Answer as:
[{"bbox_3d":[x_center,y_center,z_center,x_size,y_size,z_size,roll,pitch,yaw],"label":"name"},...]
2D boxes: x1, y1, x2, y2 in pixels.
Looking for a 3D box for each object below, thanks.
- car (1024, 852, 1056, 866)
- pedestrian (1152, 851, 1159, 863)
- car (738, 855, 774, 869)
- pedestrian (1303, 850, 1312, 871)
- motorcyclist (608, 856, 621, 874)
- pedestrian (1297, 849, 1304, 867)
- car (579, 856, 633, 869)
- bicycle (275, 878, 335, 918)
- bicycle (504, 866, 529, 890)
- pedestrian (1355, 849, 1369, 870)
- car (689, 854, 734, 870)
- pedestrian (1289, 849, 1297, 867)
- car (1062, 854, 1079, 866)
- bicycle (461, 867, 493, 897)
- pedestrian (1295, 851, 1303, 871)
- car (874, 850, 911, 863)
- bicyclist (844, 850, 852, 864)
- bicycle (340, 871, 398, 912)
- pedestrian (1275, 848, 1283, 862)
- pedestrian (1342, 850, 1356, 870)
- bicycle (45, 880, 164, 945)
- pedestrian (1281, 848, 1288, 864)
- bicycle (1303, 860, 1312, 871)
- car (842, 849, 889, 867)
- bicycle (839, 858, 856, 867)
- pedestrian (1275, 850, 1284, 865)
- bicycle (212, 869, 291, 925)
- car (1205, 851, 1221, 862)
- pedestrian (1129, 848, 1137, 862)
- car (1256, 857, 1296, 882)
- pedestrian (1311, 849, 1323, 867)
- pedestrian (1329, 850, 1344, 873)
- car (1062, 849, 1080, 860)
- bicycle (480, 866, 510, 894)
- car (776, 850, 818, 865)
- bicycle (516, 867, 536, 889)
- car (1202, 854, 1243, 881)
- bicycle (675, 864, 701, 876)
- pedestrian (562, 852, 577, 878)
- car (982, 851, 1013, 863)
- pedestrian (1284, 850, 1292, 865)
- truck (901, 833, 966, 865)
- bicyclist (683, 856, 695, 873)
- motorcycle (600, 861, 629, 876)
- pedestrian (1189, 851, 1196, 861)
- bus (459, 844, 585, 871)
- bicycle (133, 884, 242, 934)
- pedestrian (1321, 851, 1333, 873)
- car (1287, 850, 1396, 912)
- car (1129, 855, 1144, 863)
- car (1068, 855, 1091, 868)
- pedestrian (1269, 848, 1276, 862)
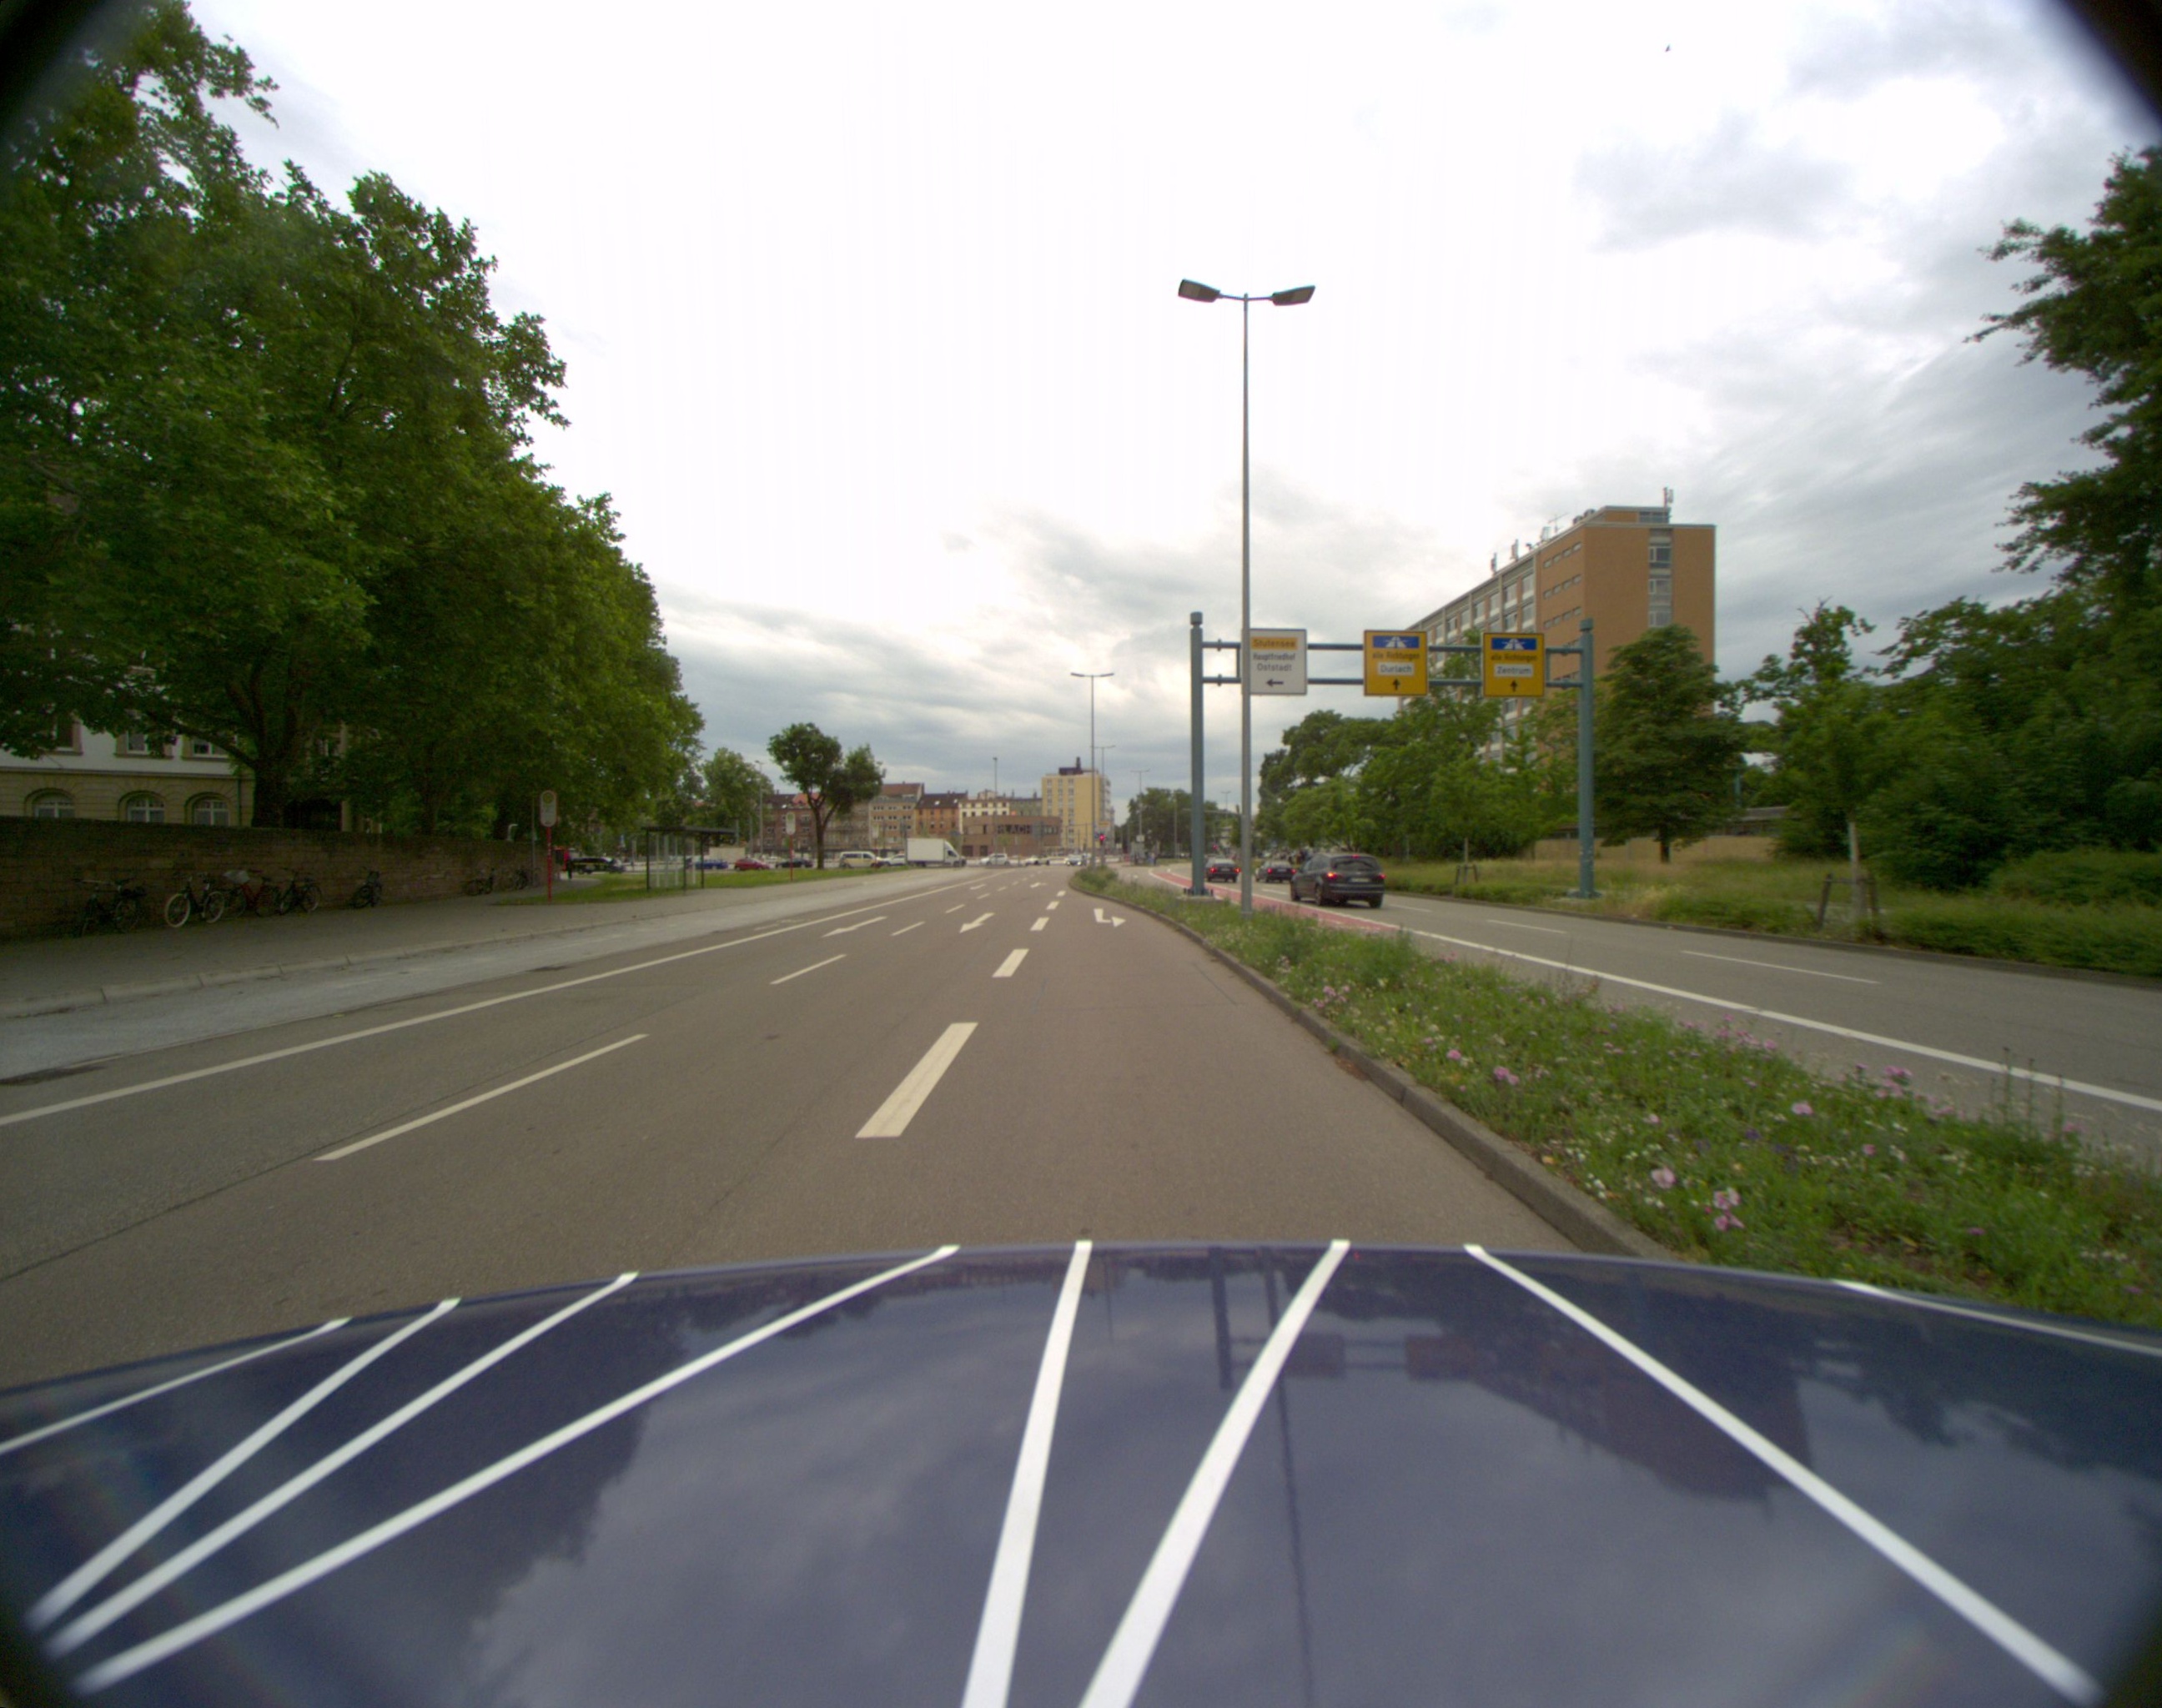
[{"bbox_3d":[-5.244,0.639,97.397,1.834,1.753,3.920,1,0,40],"label":"car"},{"bbox_3d":[9.828,0.405,100.106,0.777,1.657,0.706,1,0,-8],"label":"pedestrian"},{"bbox_3d":[-36.233,0.904,84.783,3.431,1.372,1.288,-1,-7,-5],"label":"car"},{"bbox_3d":[18.493,0.527,61.910,0.661,1.622,0.764,1,0,16],"label":"pedestrian"},{"bbox_3d":[-49.734,1.166,81.022,0.918,1.818,0.928,1,0,-12],"label":"motorcyclist"},{"bbox_3d":[20.423,0.388,70.596,0.579,1.702,0.763,1,0,20],"label":"pedestrian"},{"bbox_3d":[-51.460,0.921,82.388,4.531,1.405,1.897,1,0,-13],"label":"car"},{"bbox_3d":[-20.110,1.122,19.718,0.417,0.937,1.523,1,0,-17],"label":"bicycle"},{"bbox_3d":[-25.659,1.088,34.565,0.596,1.053,1.709,1,0,-25],"label":"bicycle"},{"bbox_3d":[18.267,0.379,49.425,0.646,1.354,0.680,1,0,-2],"label":"pedestrian"},{"bbox_3d":[-43.310,0.922,89.221,4.432,1.735,1.763,1,0,-11],"label":"car"},{"bbox_3d":[19.716,0.374,70.637,0.622,1.685,0.748,1,0,21],"label":"pedestrian"},{"bbox_3d":[-1.135,0.620,83.078,1.785,1.255,3.830,-1,1,1],"label":"car"},{"bbox_3d":[-23.673,1.082,29.808,0.596,1.129,1.709,1,0,-25],"label":"bicycle"},{"bbox_3d":[17.756,0.564,61.844,0.575,1.599,0.617,1,0,16],"label":"pedestrian"},{"bbox_3d":[-22.395,0.326,90.291,4.032,1.466,1.819,1,0,-7],"label":"car"},{"bbox_3d":[-25.287,0.280,82.475,0.740,1.499,0.767,1,0,-10],"label":"bicyclist"},{"bbox_3d":[-20.483,1.051,21.898,0.599,1.098,1.652,1,0,-19],"label":"bicycle"},{"bbox_3d":[24.100,0.138,92.457,0.708,1.661,0.890,-2,0,4],"label":"pedestrian"},{"bbox_3d":[17.489,0.389,49.583,0.646,1.350,0.711,1,0,-1],"label":"pedestrian"},{"bbox_3d":[-18.453,1.070,14.419,0.722,1.093,1.788,1,0,-28],"label":"bicycle"},{"bbox_3d":[23.502,0.220,87.573,0.638,1.790,0.762,-1,0,4],"label":"pedestrian"},{"bbox_3d":[18.487,0.922,61.914,0.661,0.882,1.717,1,0,16],"label":"bicycle"},{"bbox_3d":[-24.145,0.455,85.163,4.712,1.909,1.919,-1,3,-3],"label":"car"},{"bbox_3d":[-25.336,0.895,82.465,1.695,0.910,0.767,1,0,-10],"label":"bicycle"},{"bbox_3d":[20.308,0.331,77.672,0.730,1.471,0.813,1,0,4],"label":"pedestrian"},{"bbox_3d":[-19.585,0.985,17.988,0.501,1.214,1.624,1,0,-17],"label":"bicycle"},{"bbox_3d":[22.723,0.425,130.363,1.812,1.657,3.955,1,1,23],"label":"car"},{"bbox_3d":[6.885,0.183,99.655,0.917,1.794,0.541,1,1,17],"label":"pedestrian"},{"bbox_3d":[11.534,0.901,45.179,1.611,1.373,3.809,1,0,3],"label":"car"},{"bbox_3d":[21.482,0.327,69.191,0.635,1.603,0.829,-2,0,-21],"label":"pedestrian"},{"bbox_3d":[18.853,0.571,56.069,0.709,1.663,0.767,1,0,-5],"label":"pedestrian"},{"bbox_3d":[-1.403,0.075,108.213,1.864,1.557,4.004,1,0,11],"label":"car"},{"bbox_3d":[-24.243,1.064,31.452,0.596,1.123,1.709,1,0,-25],"label":"bicycle"},{"bbox_3d":[-33.203,0.379,88.950,4.282,1.628,1.690,1,0,3],"label":"car"},{"bbox_3d":[-26.372,1.125,36.136,0.552,0.986,1.633,1,0,-28],"label":"bicycle"},{"bbox_3d":[8.423,0.793,45.628,1.768,1.452,4.792,1,1,3],"label":"car"},{"bbox_3d":[-42.366,1.719,81.902,2.391,1.316,0.764,1,0,-6],"label":"bicycle"},{"bbox_3d":[-33.913,0.722,50.392,0.759,1.725,0.820,1,1,-39],"label":"pedestrian"},{"bbox_3d":[-10.131,0.367,92.616,3.437,1.382,1.515,1,0,-30],"label":"car"},{"bbox_3d":[21.109,0.336,77.533,0.637,1.471,0.762,1,0,4],"label":"pedestrian"},{"bbox_3d":[-16.550,-0.550,85.515,6.852,3.393,2.559,-1,2,-5],"label":"truck"},{"bbox_3d":[-42.288,1.124,81.908,0.896,1.849,0.764,1,0,-5],"label":"bicyclist"},{"bbox_3d":[-49.743,1.529,81.040,2.515,1.592,0.928,1,0,-12],"label":"motorcycle"},{"bbox_3d":[22.982,0.383,156.288,0.986,2.002,0.910,1,1,42],"label":"pedestrian"},{"bbox_3d":[-65.009,0.410,88.616,12.091,2.891,2.937,-1,0,-3],"label":"bus"},{"bbox_3d":[-19.036,1.144,16.250,0.656,0.945,1.767,1,0,-17],"label":"bicycle"},{"bbox_3d":[18.156,0.573,56.065,0.587,1.650,0.720,1,0,-5],"label":"pedestrian"},{"bbox_3d":[7.922,0.752,23.575,1.925,1.655,4.398,1,1,1],"label":"car"},{"bbox_3d":[9.880,0.846,134.187,1.782,1.255,3.536,-1,1,19],"label":"car"},{"bbox_3d":[-0.143,0.928,91.801,1.839,1.465,3.715,1,0,14],"label":"car"},{"bbox_3d":[23.310,0.143,92.490,0.708,1.661,0.943,-1,0,4],"label":"pedestrian"}]
